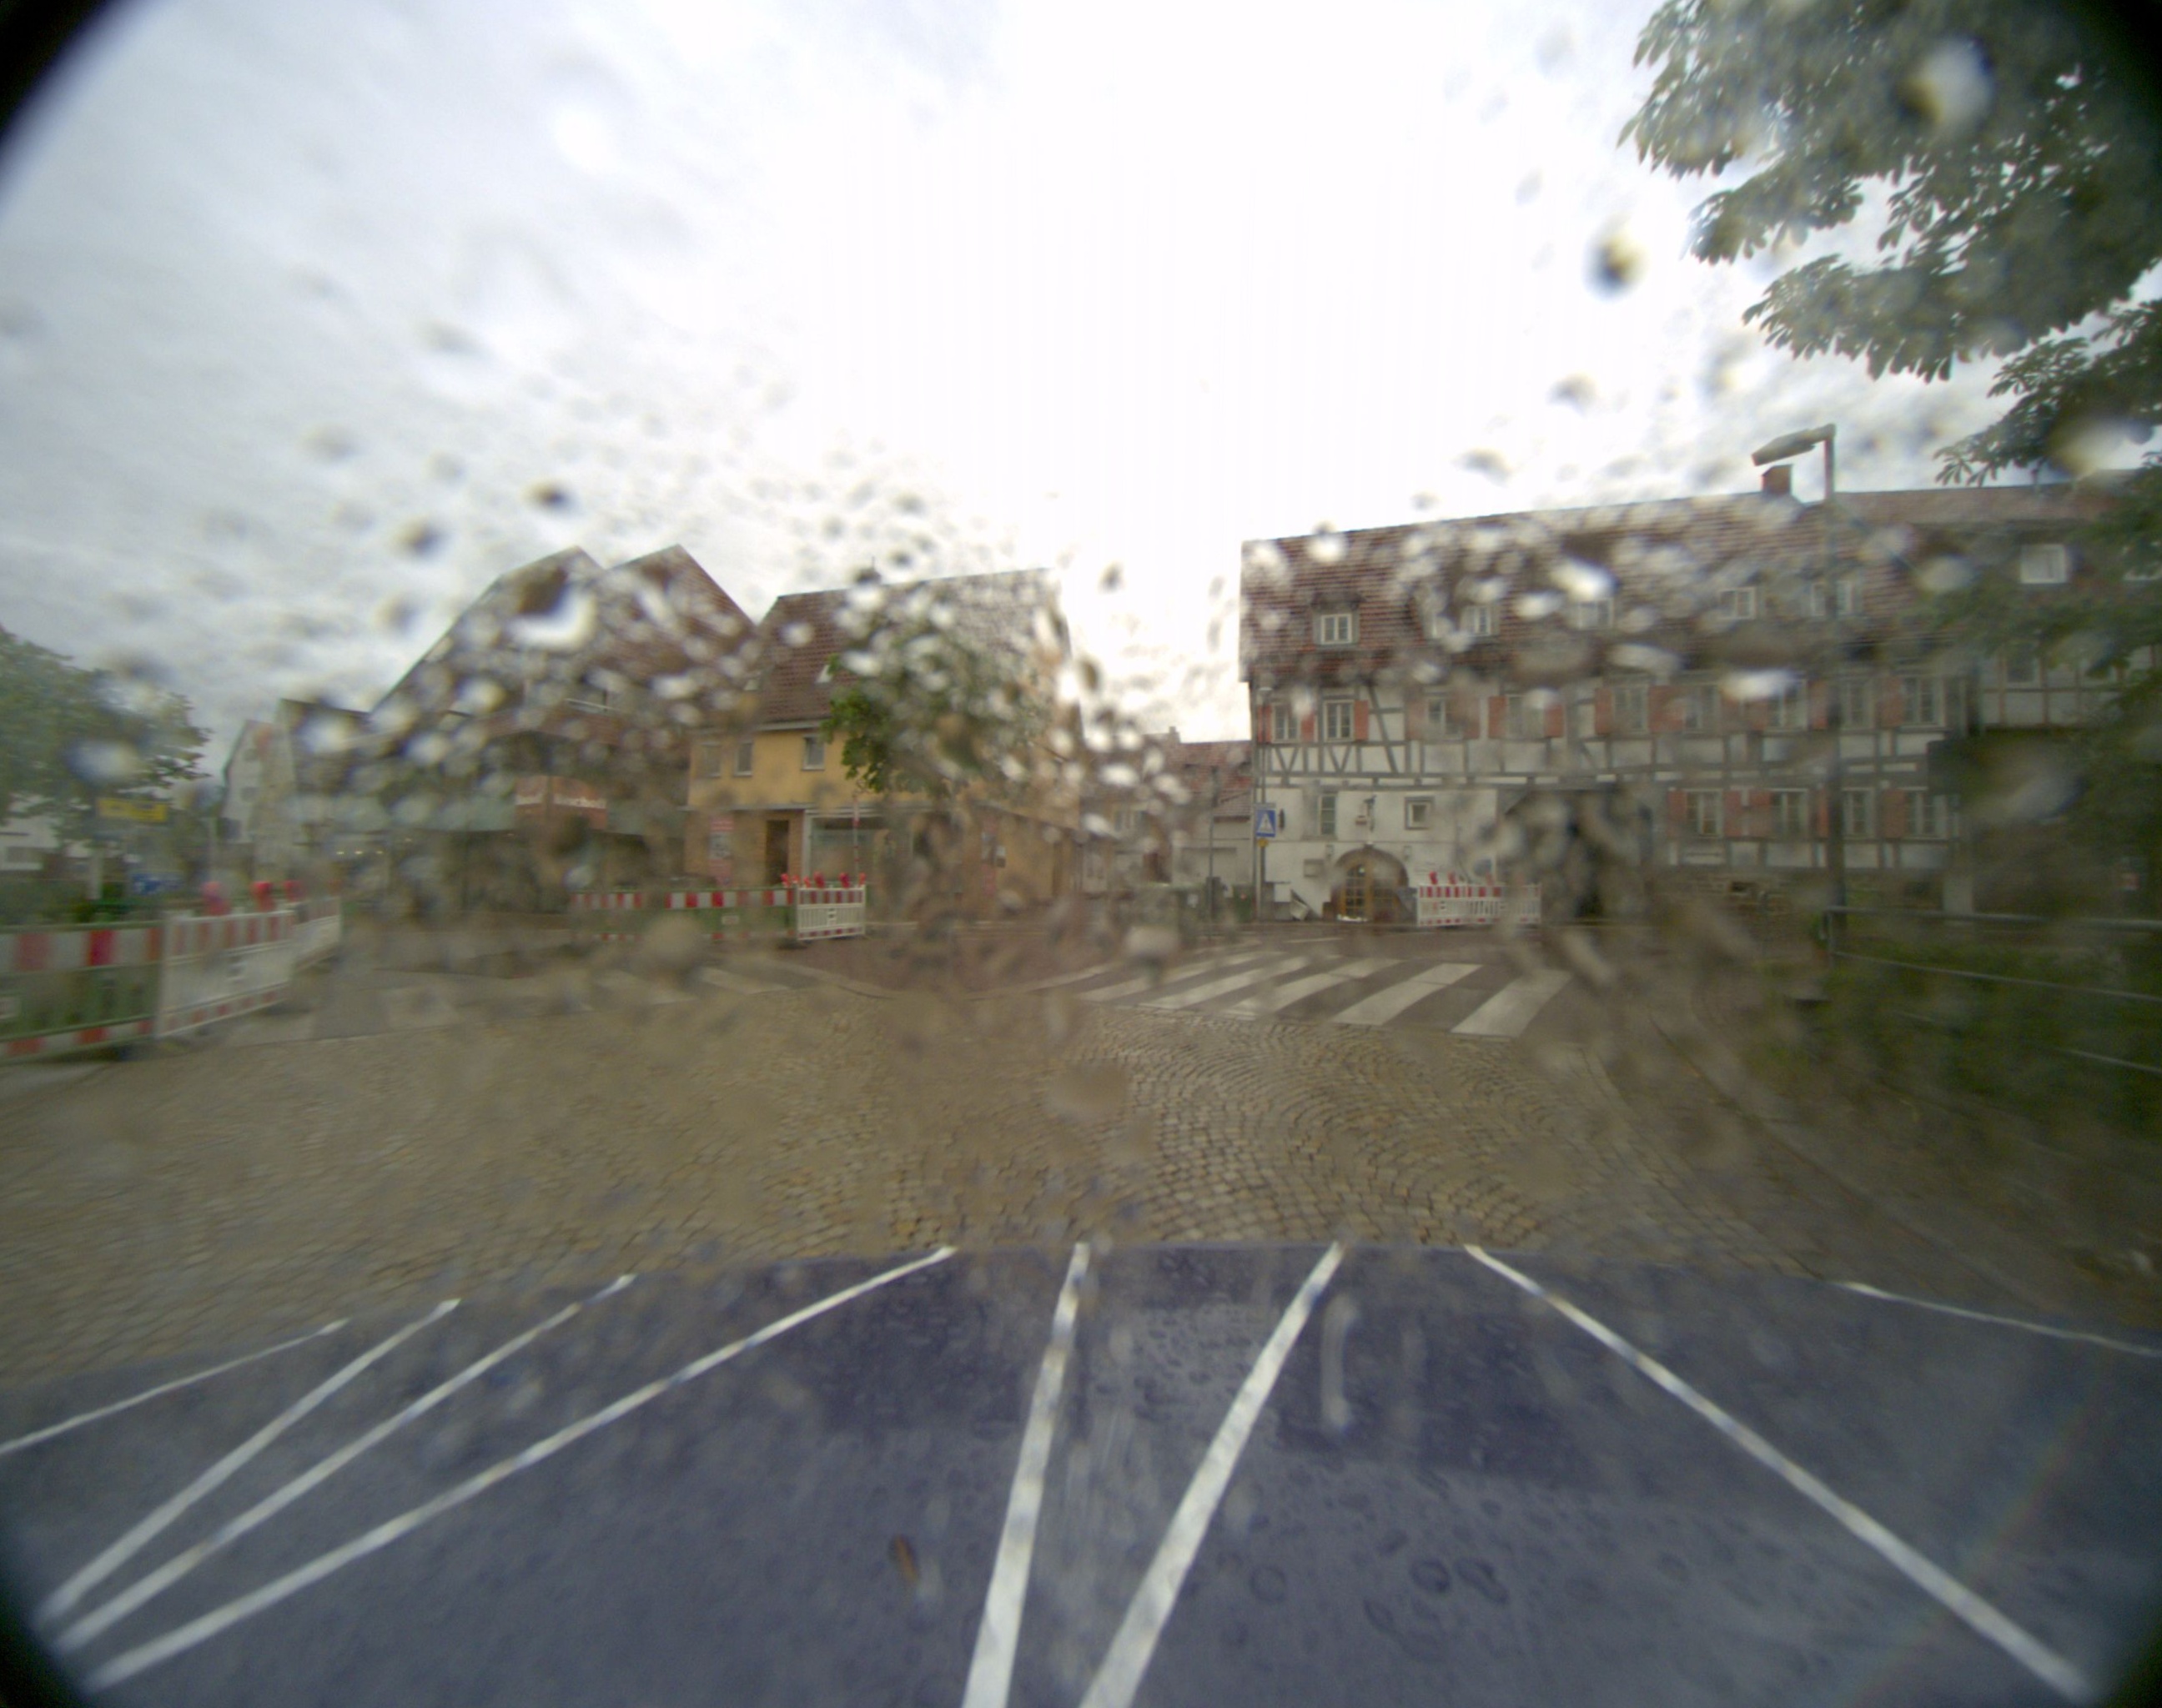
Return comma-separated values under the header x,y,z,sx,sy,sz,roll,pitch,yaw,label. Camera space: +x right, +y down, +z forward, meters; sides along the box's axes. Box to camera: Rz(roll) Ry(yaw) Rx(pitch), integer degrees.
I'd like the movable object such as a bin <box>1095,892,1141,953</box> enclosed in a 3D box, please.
x,y,z,sx,sy,sz,roll,pitch,yaw,label
0.638,1.175,13.168,0.512,0.998,0.566,-1,-1,-37,movable object such as a bin

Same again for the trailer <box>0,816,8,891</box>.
x,y,z,sx,sy,sz,roll,pitch,yaw,label
-43.304,-0.175,26.886,1.997,2.928,5.806,-1,-3,6,trailer

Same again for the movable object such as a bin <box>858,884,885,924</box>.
x,y,z,sx,sy,sz,roll,pitch,yaw,label
-6.179,1.474,22.444,0.579,1.125,0.520,1,1,14,movable object such as a bin

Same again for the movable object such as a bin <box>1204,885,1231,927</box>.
x,y,z,sx,sy,sz,roll,pitch,yaw,label
3.601,1.361,20.037,0.538,1.059,0.619,-2,-1,27,movable object such as a bin

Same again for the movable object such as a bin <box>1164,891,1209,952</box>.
x,y,z,sx,sy,sz,roll,pitch,yaw,label
1.871,1.186,13.478,0.533,1.026,0.546,-3,-2,44,movable object such as a bin

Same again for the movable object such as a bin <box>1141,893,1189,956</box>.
x,y,z,sx,sy,sz,roll,pitch,yaw,label
1.430,1.192,12.995,0.570,1.030,0.543,-3,-2,44,movable object such as a bin

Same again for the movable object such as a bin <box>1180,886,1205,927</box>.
x,y,z,sx,sy,sz,roll,pitch,yaw,label
2.994,1.402,20.399,0.585,1.059,0.681,-2,-1,12,movable object such as a bin

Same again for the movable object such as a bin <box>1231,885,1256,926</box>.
x,y,z,sx,sy,sz,roll,pitch,yaw,label
4.280,1.345,19.982,0.539,1.059,0.681,-1,-1,5,movable object such as a bin

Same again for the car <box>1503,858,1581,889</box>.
x,y,z,sx,sy,sz,roll,pitch,yaw,label
22.075,0.968,36.478,2.980,1.441,1.415,-1,-3,20,car

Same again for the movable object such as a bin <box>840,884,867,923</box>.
x,y,z,sx,sy,sz,roll,pitch,yaw,label
-6.767,1.470,22.597,0.579,1.122,0.518,1,1,14,movable object such as a bin

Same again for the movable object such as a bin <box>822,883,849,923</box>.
x,y,z,sx,sy,sz,roll,pitch,yaw,label
-7.357,1.457,22.746,0.579,1.127,0.518,1,1,14,movable object such as a bin

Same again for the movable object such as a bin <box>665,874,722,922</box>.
x,y,z,sx,sy,sz,roll,pitch,yaw,label
-12.500,1.398,24.530,1.239,1.504,1.070,0,0,18,movable object such as a bin
